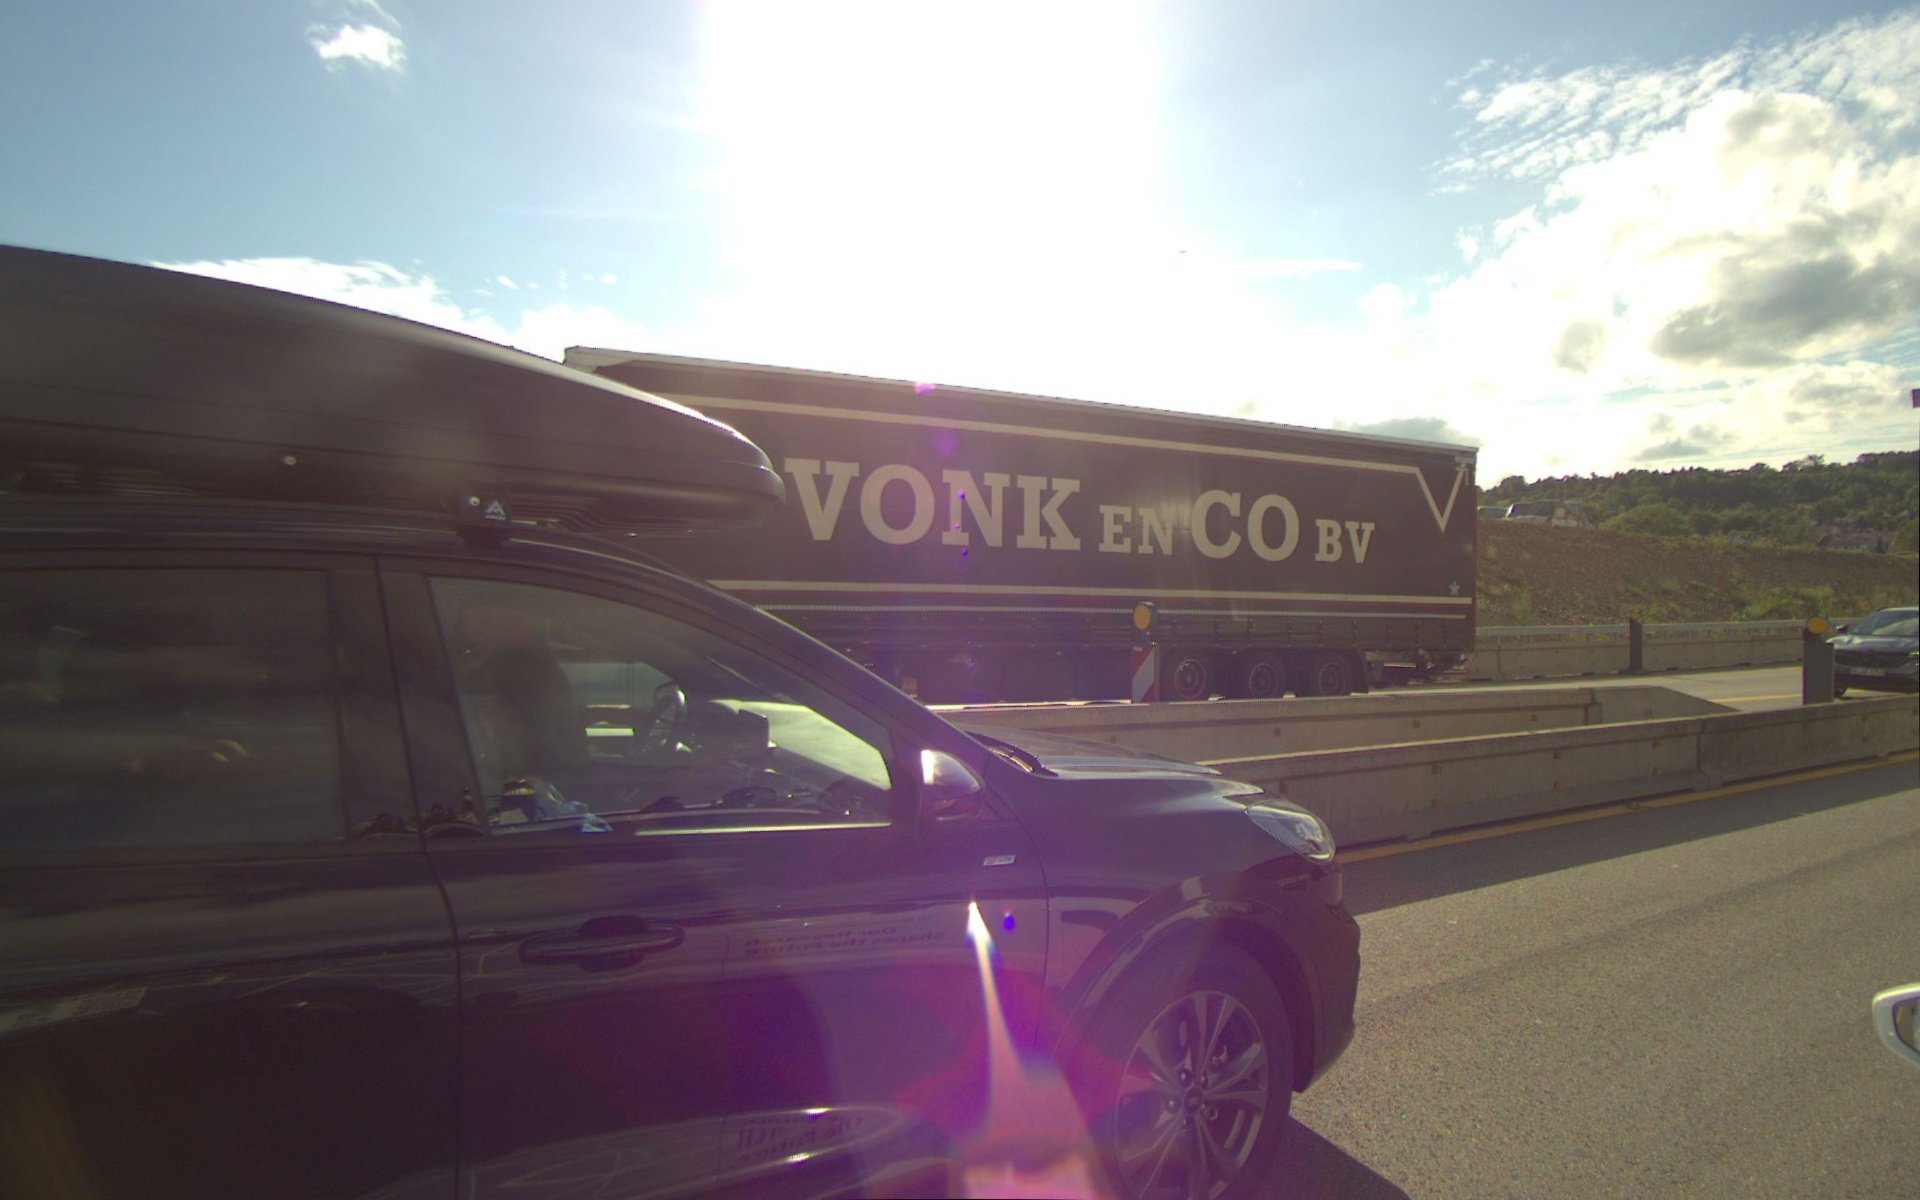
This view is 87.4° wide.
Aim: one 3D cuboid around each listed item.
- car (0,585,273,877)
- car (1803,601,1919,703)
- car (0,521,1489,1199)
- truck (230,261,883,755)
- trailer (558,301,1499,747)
[{"bbox_3d":[-7.183,0.719,6.220,4.432,1.670,1.843,1,0,-17],"label":"car"},{"bbox_3d":[17.302,0.905,18.193,4.188,1.670,1.835,1,0,-31],"label":"car"},{"bbox_3d":[-0.935,0.729,2.288,4.333,1.562,1.791,3,-2,-31],"label":"car"},{"bbox_3d":[-4.344,-0.799,11.695,6.200,4.446,2.905,1,1,-25],"label":"truck"},{"bbox_3d":[1.676,-0.677,14.365,13.627,4.482,2.967,1,1,-25],"label":"trailer"}]
